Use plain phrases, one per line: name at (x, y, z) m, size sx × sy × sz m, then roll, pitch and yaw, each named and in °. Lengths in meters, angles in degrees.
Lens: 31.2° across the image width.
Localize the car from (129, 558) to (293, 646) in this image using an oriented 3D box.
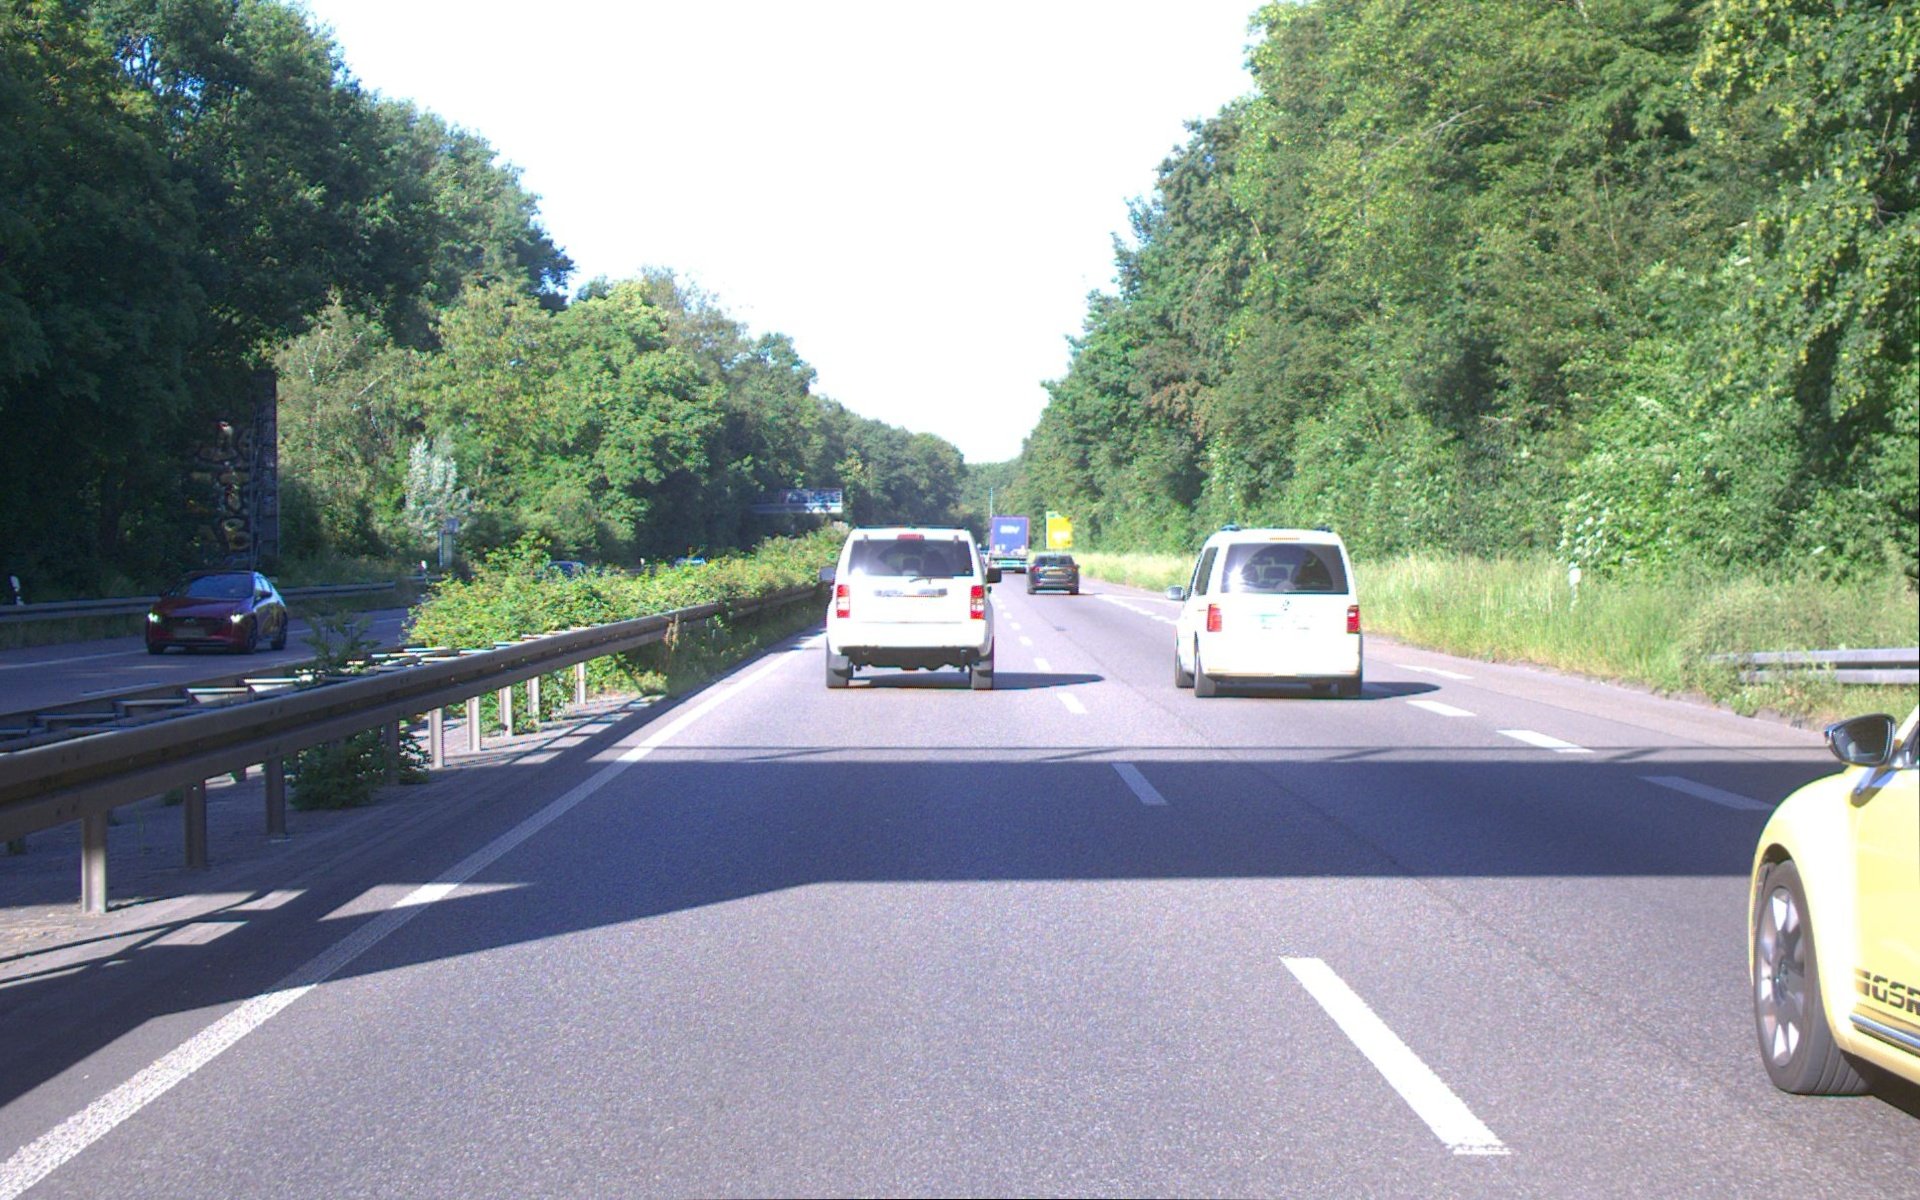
car at (-13.100, 0.009, 60.408) m, size 1.960 × 1.445 × 4.584 m, roll 1°, pitch 1°, yaw -1°

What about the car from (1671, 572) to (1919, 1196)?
car at (3.213, 0.690, 8.353) m, size 1.879 × 1.456 × 4.356 m, roll 1°, pitch 1°, yaw -2°

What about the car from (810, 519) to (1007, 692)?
car at (-0.618, 0.027, 38.625) m, size 2.085 × 1.822 × 4.000 m, roll 0°, pitch 1°, yaw -2°

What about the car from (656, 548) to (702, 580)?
car at (-13.230, -1.710, 162.269) m, size 1.960 × 1.445 × 4.507 m, roll 1°, pitch 1°, yaw -2°

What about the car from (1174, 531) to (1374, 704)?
car at (3.368, 0.142, 37.562) m, size 1.863 × 1.764 × 4.470 m, roll 0°, pitch 1°, yaw 1°

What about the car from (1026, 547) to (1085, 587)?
car at (3.417, -1.198, 123.854) m, size 1.993 × 1.393 × 4.000 m, roll 1°, pitch 1°, yaw 0°

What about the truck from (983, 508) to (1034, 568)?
truck at (3.401, -4.401, 244.724) m, size 3.496 × 4.158 × 8.862 m, roll 0°, pitch 1°, yaw 0°
